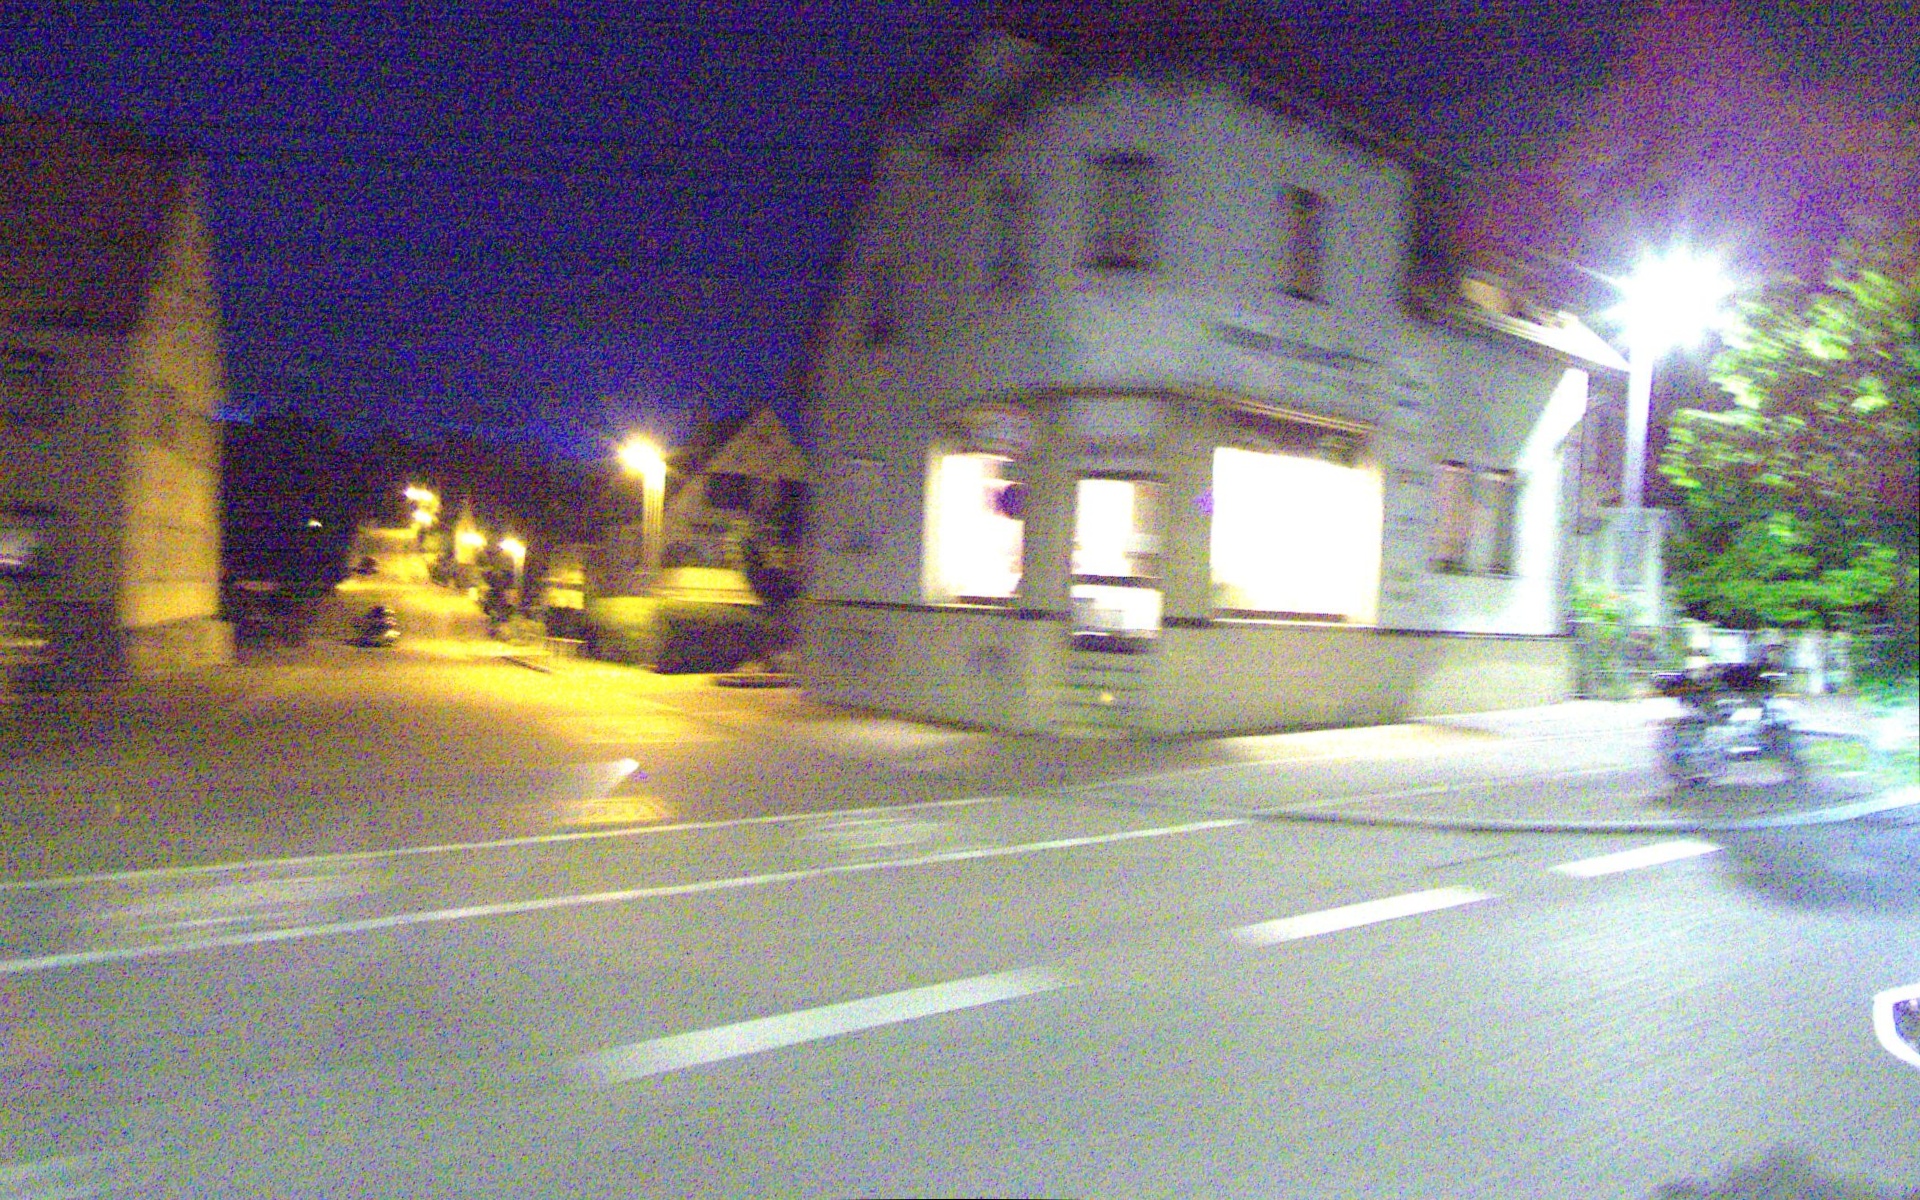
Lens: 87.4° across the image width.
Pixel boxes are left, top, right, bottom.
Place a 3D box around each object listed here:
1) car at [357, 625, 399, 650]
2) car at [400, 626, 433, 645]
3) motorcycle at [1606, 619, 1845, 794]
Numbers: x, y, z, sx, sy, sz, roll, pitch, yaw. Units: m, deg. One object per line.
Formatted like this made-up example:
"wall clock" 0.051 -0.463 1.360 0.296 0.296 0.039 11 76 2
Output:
"car" -33.538 2.139 57.910 1.976 1.372 4.191 2 -2 -30
"car" -39.468 2.568 72.885 1.976 1.372 4.690 2 -2 -30
"motorcycle" 7.067 0.937 9.263 2.164 1.471 0.744 2 0 -22
